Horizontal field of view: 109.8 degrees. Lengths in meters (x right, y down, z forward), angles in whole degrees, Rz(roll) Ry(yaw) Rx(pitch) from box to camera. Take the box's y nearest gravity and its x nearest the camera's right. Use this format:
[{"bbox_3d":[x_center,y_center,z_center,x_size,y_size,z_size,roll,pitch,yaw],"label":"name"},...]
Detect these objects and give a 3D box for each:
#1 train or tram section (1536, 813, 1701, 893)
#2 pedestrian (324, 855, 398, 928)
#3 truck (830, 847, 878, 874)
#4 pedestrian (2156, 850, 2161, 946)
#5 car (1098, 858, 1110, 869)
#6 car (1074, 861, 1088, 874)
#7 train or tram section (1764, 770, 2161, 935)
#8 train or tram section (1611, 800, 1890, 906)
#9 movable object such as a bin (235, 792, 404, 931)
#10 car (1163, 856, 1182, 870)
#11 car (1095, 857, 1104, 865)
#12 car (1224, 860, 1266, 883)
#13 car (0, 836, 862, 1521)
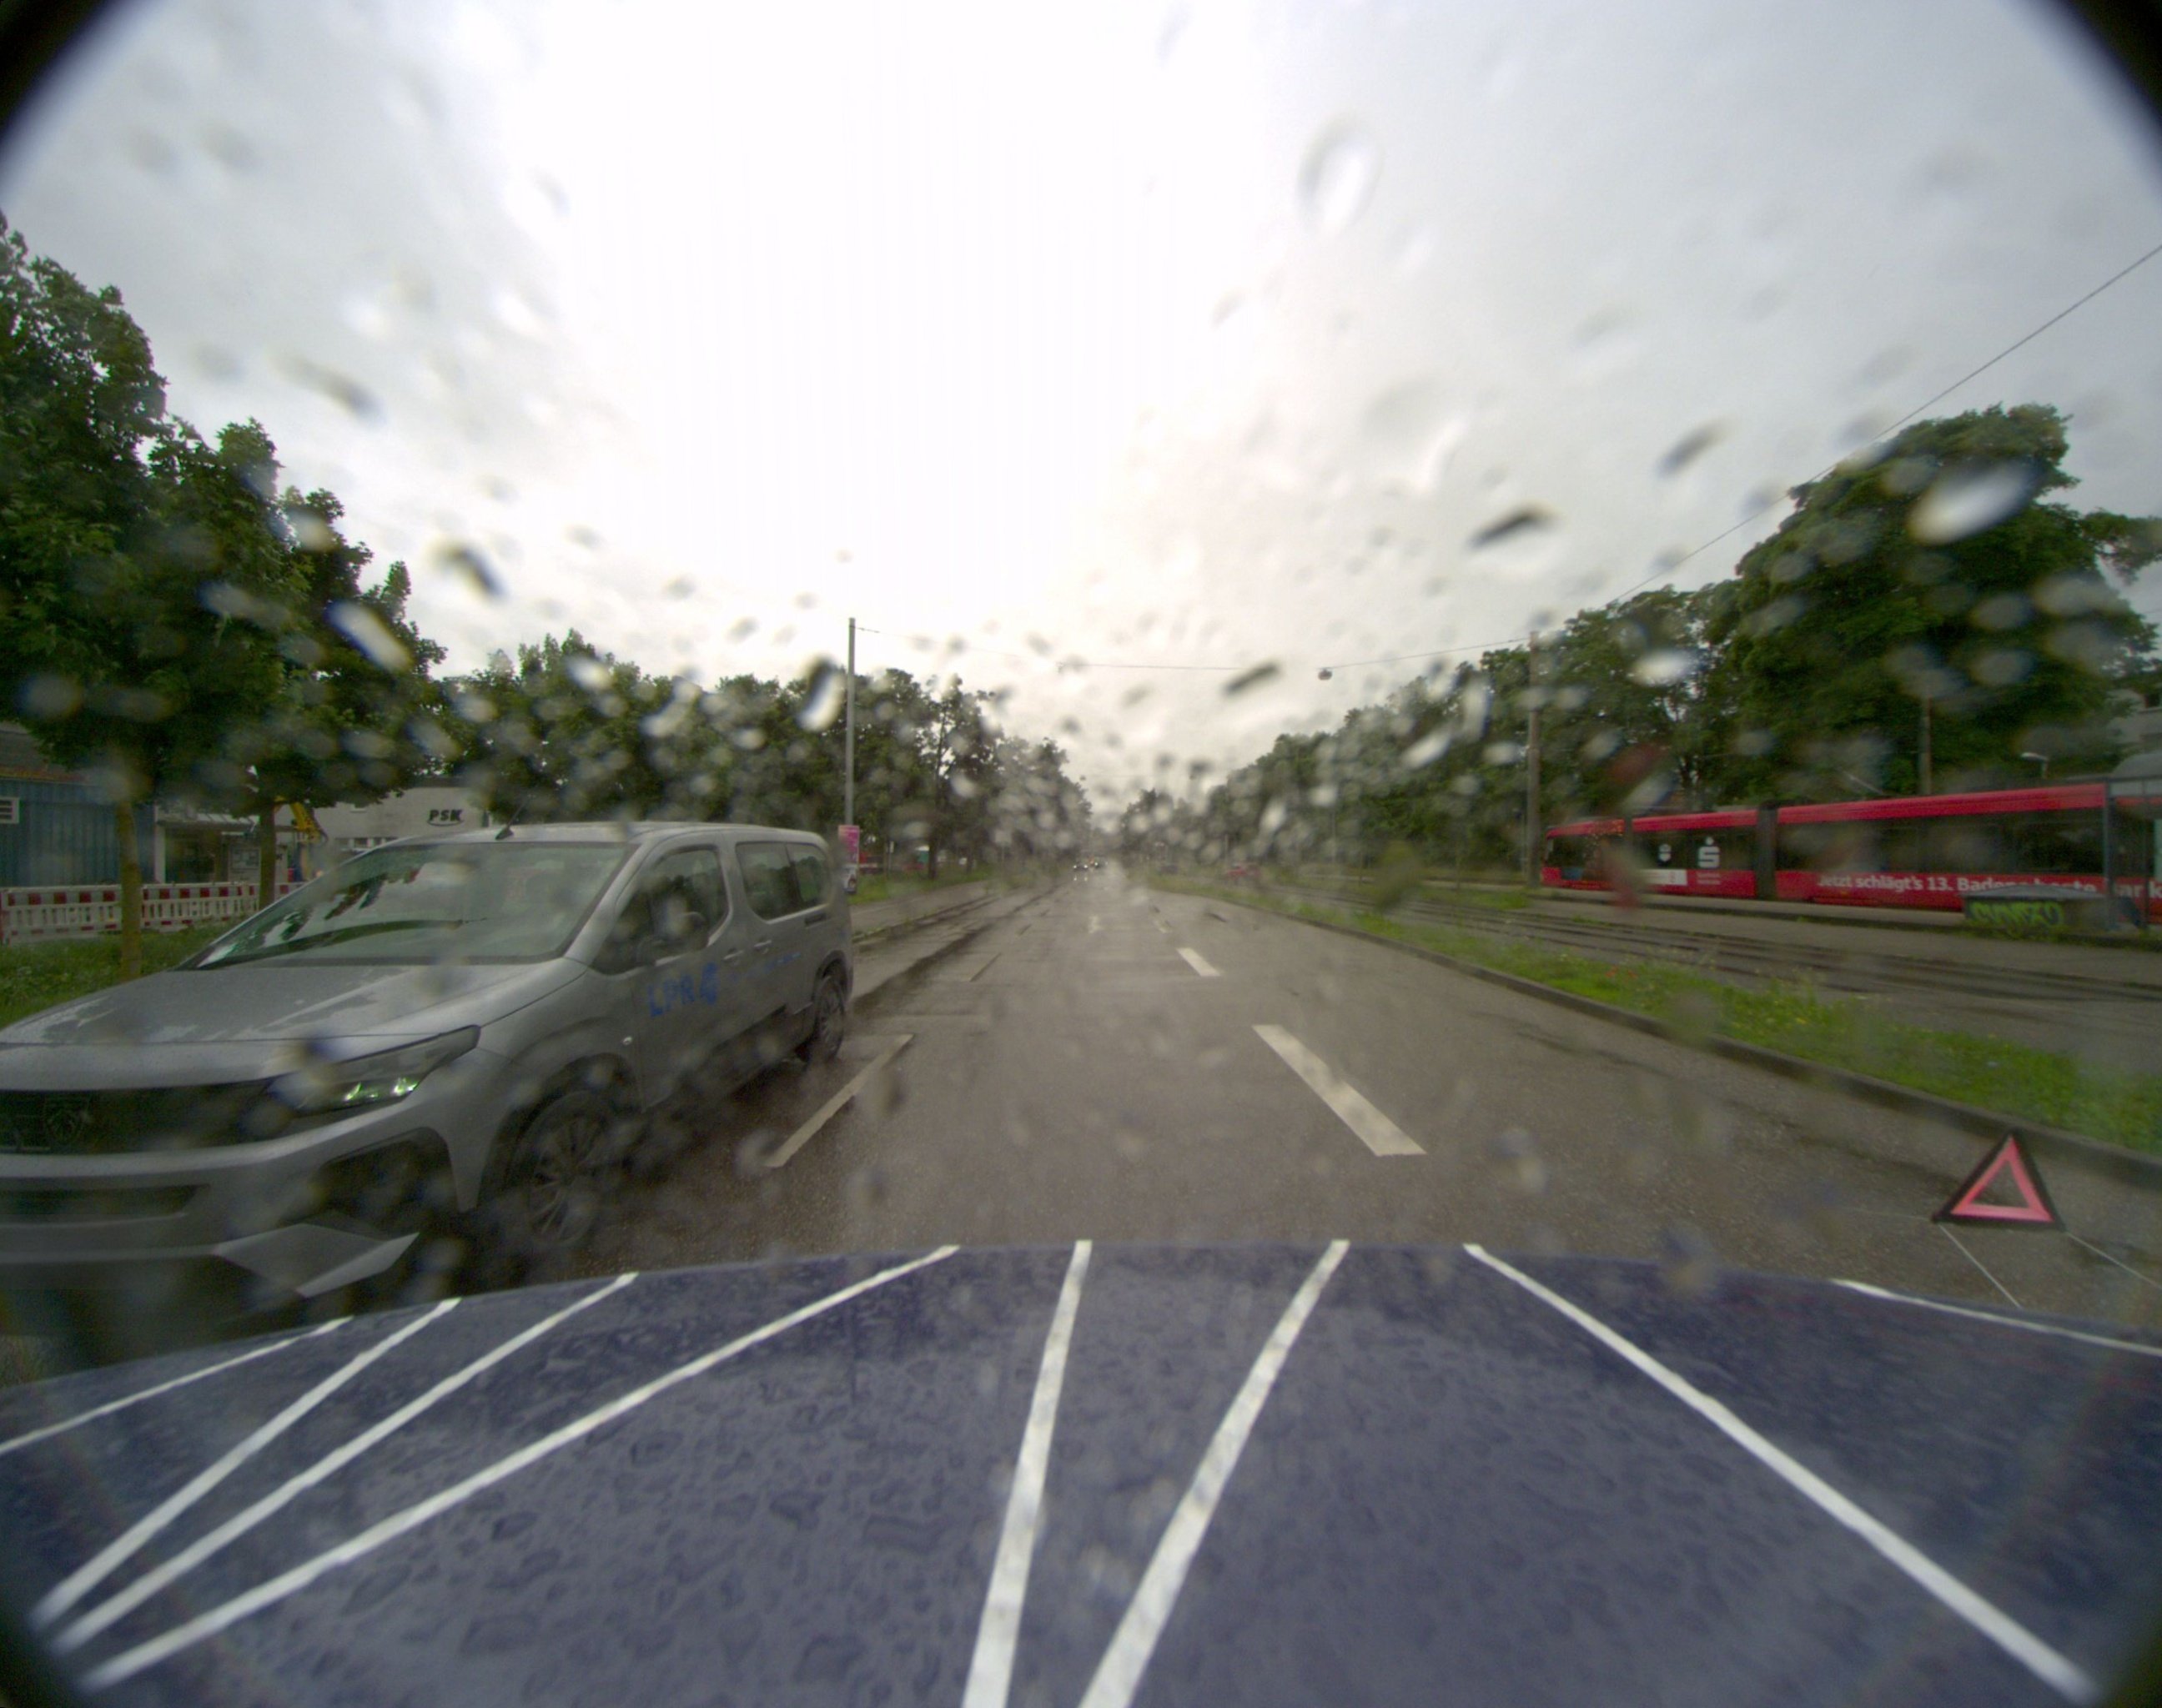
[{"bbox_3d":[24.362,-0.039,34.873,3.541,3.398,5.769,0,0,1],"label":"train or tram section"},{"bbox_3d":[-20.043,1.016,21.178,0.814,1.924,1.212,-2,1,0],"label":"pedestrian"},{"bbox_3d":[-26.195,0.698,88.191,2.811,2.882,8.749,-2,1,0],"label":"truck"},{"bbox_3d":[17.826,0.715,12.113,0.522,1.553,0.602,-2,1,15],"label":"pedestrian"},{"bbox_3d":[3.794,1.516,126.560,1.812,1.683,3.776,-2,1,0],"label":"car"},{"bbox_3d":[-0.031,1.772,103.272,1.858,1.583,3.999,-2,1,0],"label":"car"},{"bbox_3d":[24.090,-0.031,19.775,3.541,3.381,10.261,0,0,1],"label":"train or tram section"},{"bbox_3d":[24.240,-0.031,28.341,3.541,3.392,7.903,0,0,1],"label":"train or tram section"},{"bbox_3d":[-26.072,0.232,26.227,1.557,4.401,3.909,-2,1,2],"label":"movable object such as a bin"},{"bbox_3d":[10.240,0.983,85.021,1.741,1.428,3.820,-1,1,1],"label":"car"},{"bbox_3d":[3.970,1.530,164.261,1.898,1.601,4.000,-2,1,1],"label":"car"},{"bbox_3d":[10.747,1.134,50.067,1.685,1.353,4.251,2,0,-1],"label":"car"},{"bbox_3d":[-2.929,0.864,4.278,1.998,1.785,4.562,-2,0,0],"label":"car"}]
